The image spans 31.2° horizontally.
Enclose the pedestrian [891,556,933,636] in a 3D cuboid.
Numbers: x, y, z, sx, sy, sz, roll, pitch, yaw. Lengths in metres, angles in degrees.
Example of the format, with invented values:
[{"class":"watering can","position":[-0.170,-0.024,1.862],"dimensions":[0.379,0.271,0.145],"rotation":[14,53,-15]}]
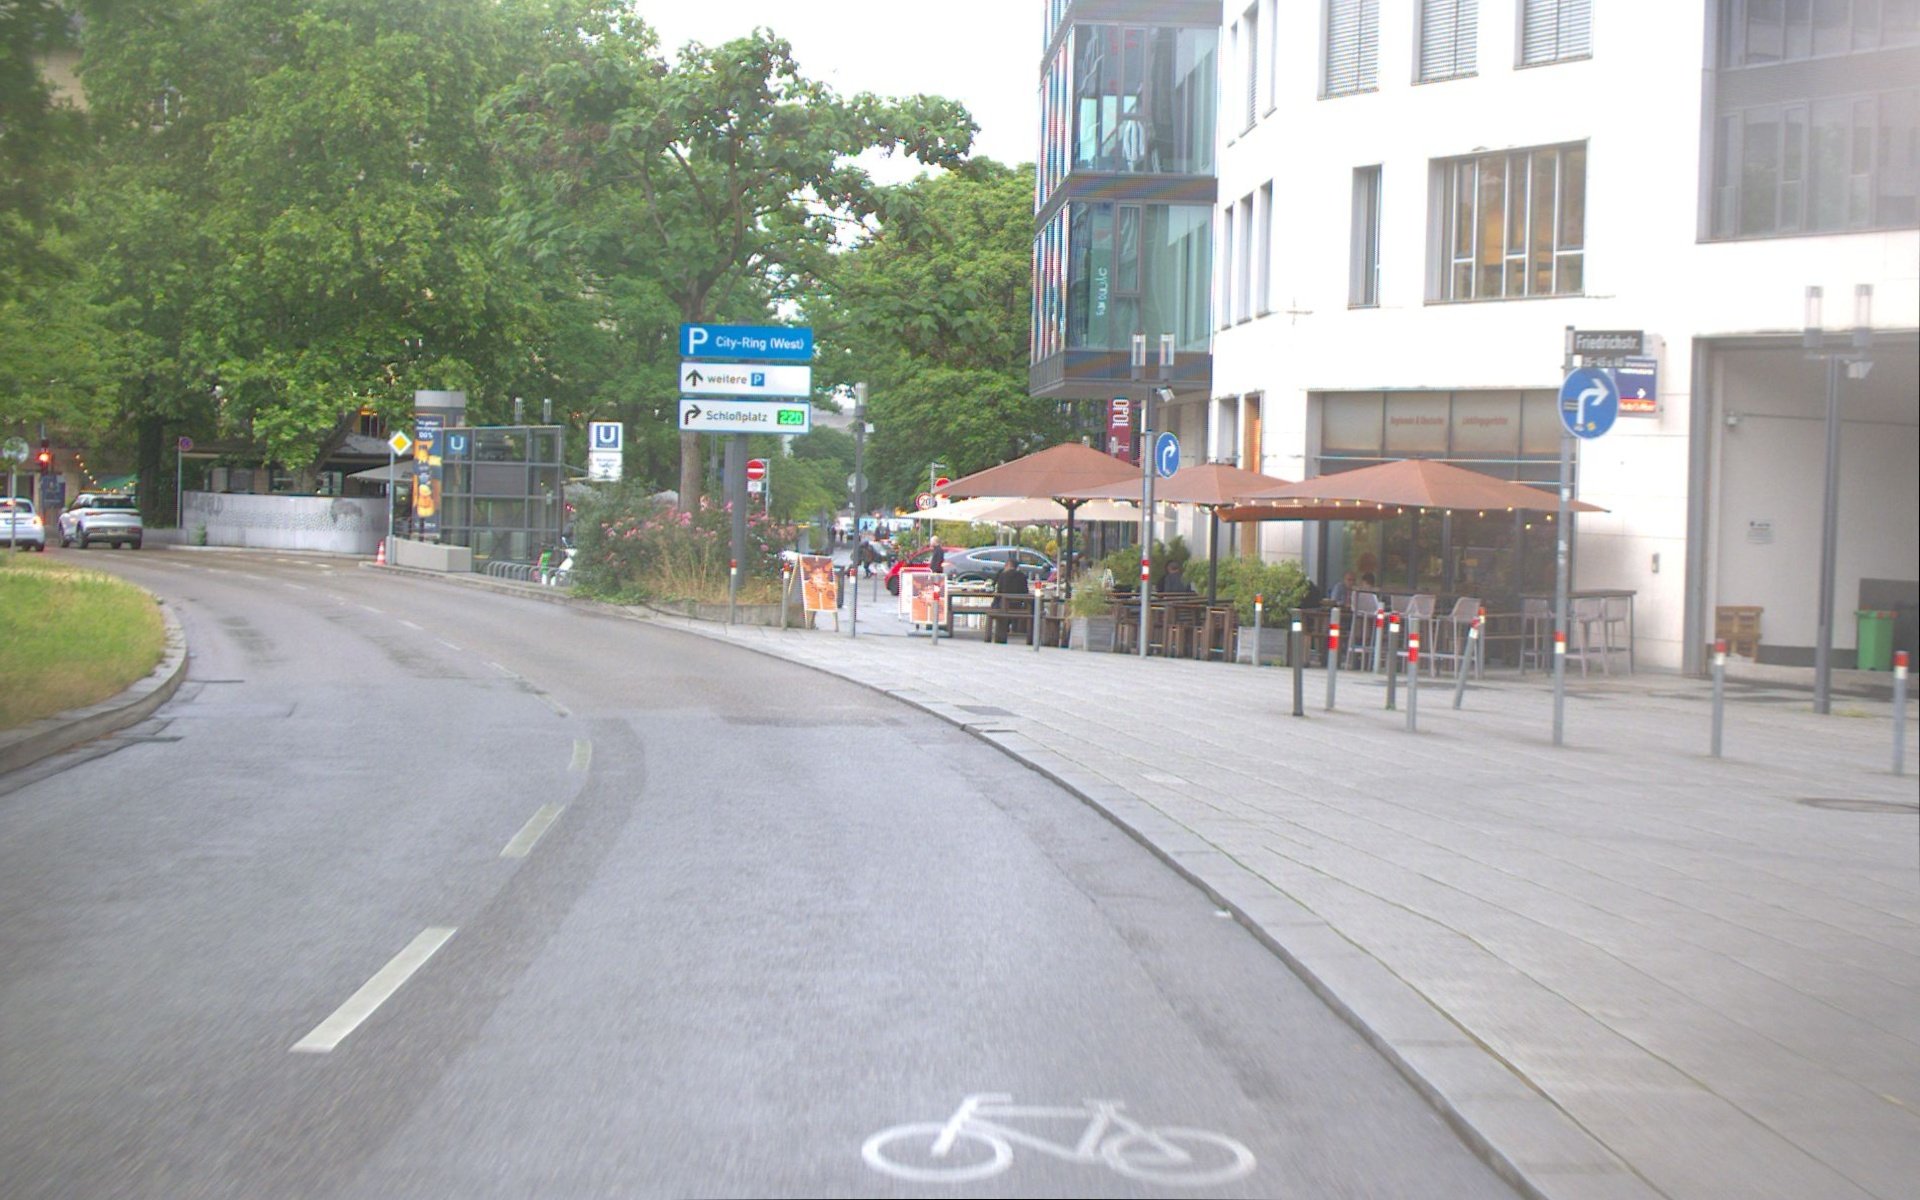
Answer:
[{"class":"pedestrian","position":[-0.828,-0.069,59.105],"dimensions":[0.606,1.322,0.568],"rotation":[4,1,-5]}]

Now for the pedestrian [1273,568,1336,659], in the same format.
[{"class":"pedestrian","position":[5.221,0.203,52.091],"dimensions":[0.626,1.322,0.636],"rotation":[4,1,-25]}]

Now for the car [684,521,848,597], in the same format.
[{"class":"car","position":[-5.108,-1.078,90.143],"dimensions":[4.096,1.615,1.863],"rotation":[5,0,-5]}]

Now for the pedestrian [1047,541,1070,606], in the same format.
[{"class":"pedestrian","position":[2.137,-0.580,74.774],"dimensions":[0.434,1.399,0.478],"rotation":[1,1,-2]}]

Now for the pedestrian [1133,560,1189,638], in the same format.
[{"class":"pedestrian","position":[3.566,-0.021,61.102],"dimensions":[0.817,1.322,0.636],"rotation":[4,1,-5]}]

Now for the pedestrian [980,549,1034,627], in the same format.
[{"class":"pedestrian","position":[0.832,-0.210,61.095],"dimensions":[0.817,1.322,0.636],"rotation":[4,1,-5]}]

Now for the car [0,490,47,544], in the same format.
[{"class":"car","position":[-27.088,-2.382,97.822],"dimensions":[1.590,1.486,3.506],"rotation":[-1,2,-24]}]

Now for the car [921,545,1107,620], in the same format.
[{"class":"car","position":[1.396,-0.470,90.112],"dimensions":[4.734,1.685,2.005],"rotation":[3,2,-1]}]

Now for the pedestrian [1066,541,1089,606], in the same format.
[{"class":"pedestrian","position":[2.576,-0.578,75.179],"dimensions":[0.434,1.399,0.478],"rotation":[1,1,-2]}]

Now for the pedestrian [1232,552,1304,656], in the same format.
[{"class":"pedestrian","position":[4.114,0.050,45.955],"dimensions":[0.773,1.322,0.636],"rotation":[4,1,-5]}]

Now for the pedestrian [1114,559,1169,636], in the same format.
[{"class":"pedestrian","position":[3.263,-0.041,61.982],"dimensions":[0.817,1.322,0.636],"rotation":[4,1,-5]}]

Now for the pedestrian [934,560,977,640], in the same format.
[{"class":"pedestrian","position":[-0.076,-0.006,59.149],"dimensions":[0.606,1.322,0.568],"rotation":[4,1,-5]}]

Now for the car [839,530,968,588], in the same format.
[{"class":"car","position":[-1.621,-1.172,98.167],"dimensions":[1.610,1.411,3.527],"rotation":[3,1,-45]}]

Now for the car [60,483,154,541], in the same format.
[{"class":"car","position":[-25.673,-2.653,103.404],"dimensions":[1.946,1.660,4.346],"rotation":[2,1,-24]}]

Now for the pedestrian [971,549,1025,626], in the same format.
[{"class":"pedestrian","position":[0.681,-0.229,61.874],"dimensions":[0.817,1.322,0.636],"rotation":[4,1,-5]}]

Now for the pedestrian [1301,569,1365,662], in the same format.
[{"class":"pedestrian","position":[5.550,0.225,51.153],"dimensions":[0.626,1.322,0.636],"rotation":[4,1,-25]}]

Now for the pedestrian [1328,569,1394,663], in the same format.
[{"class":"pedestrian","position":[5.873,0.231,50.347],"dimensions":[0.626,1.322,0.636],"rotation":[4,1,-25]}]
